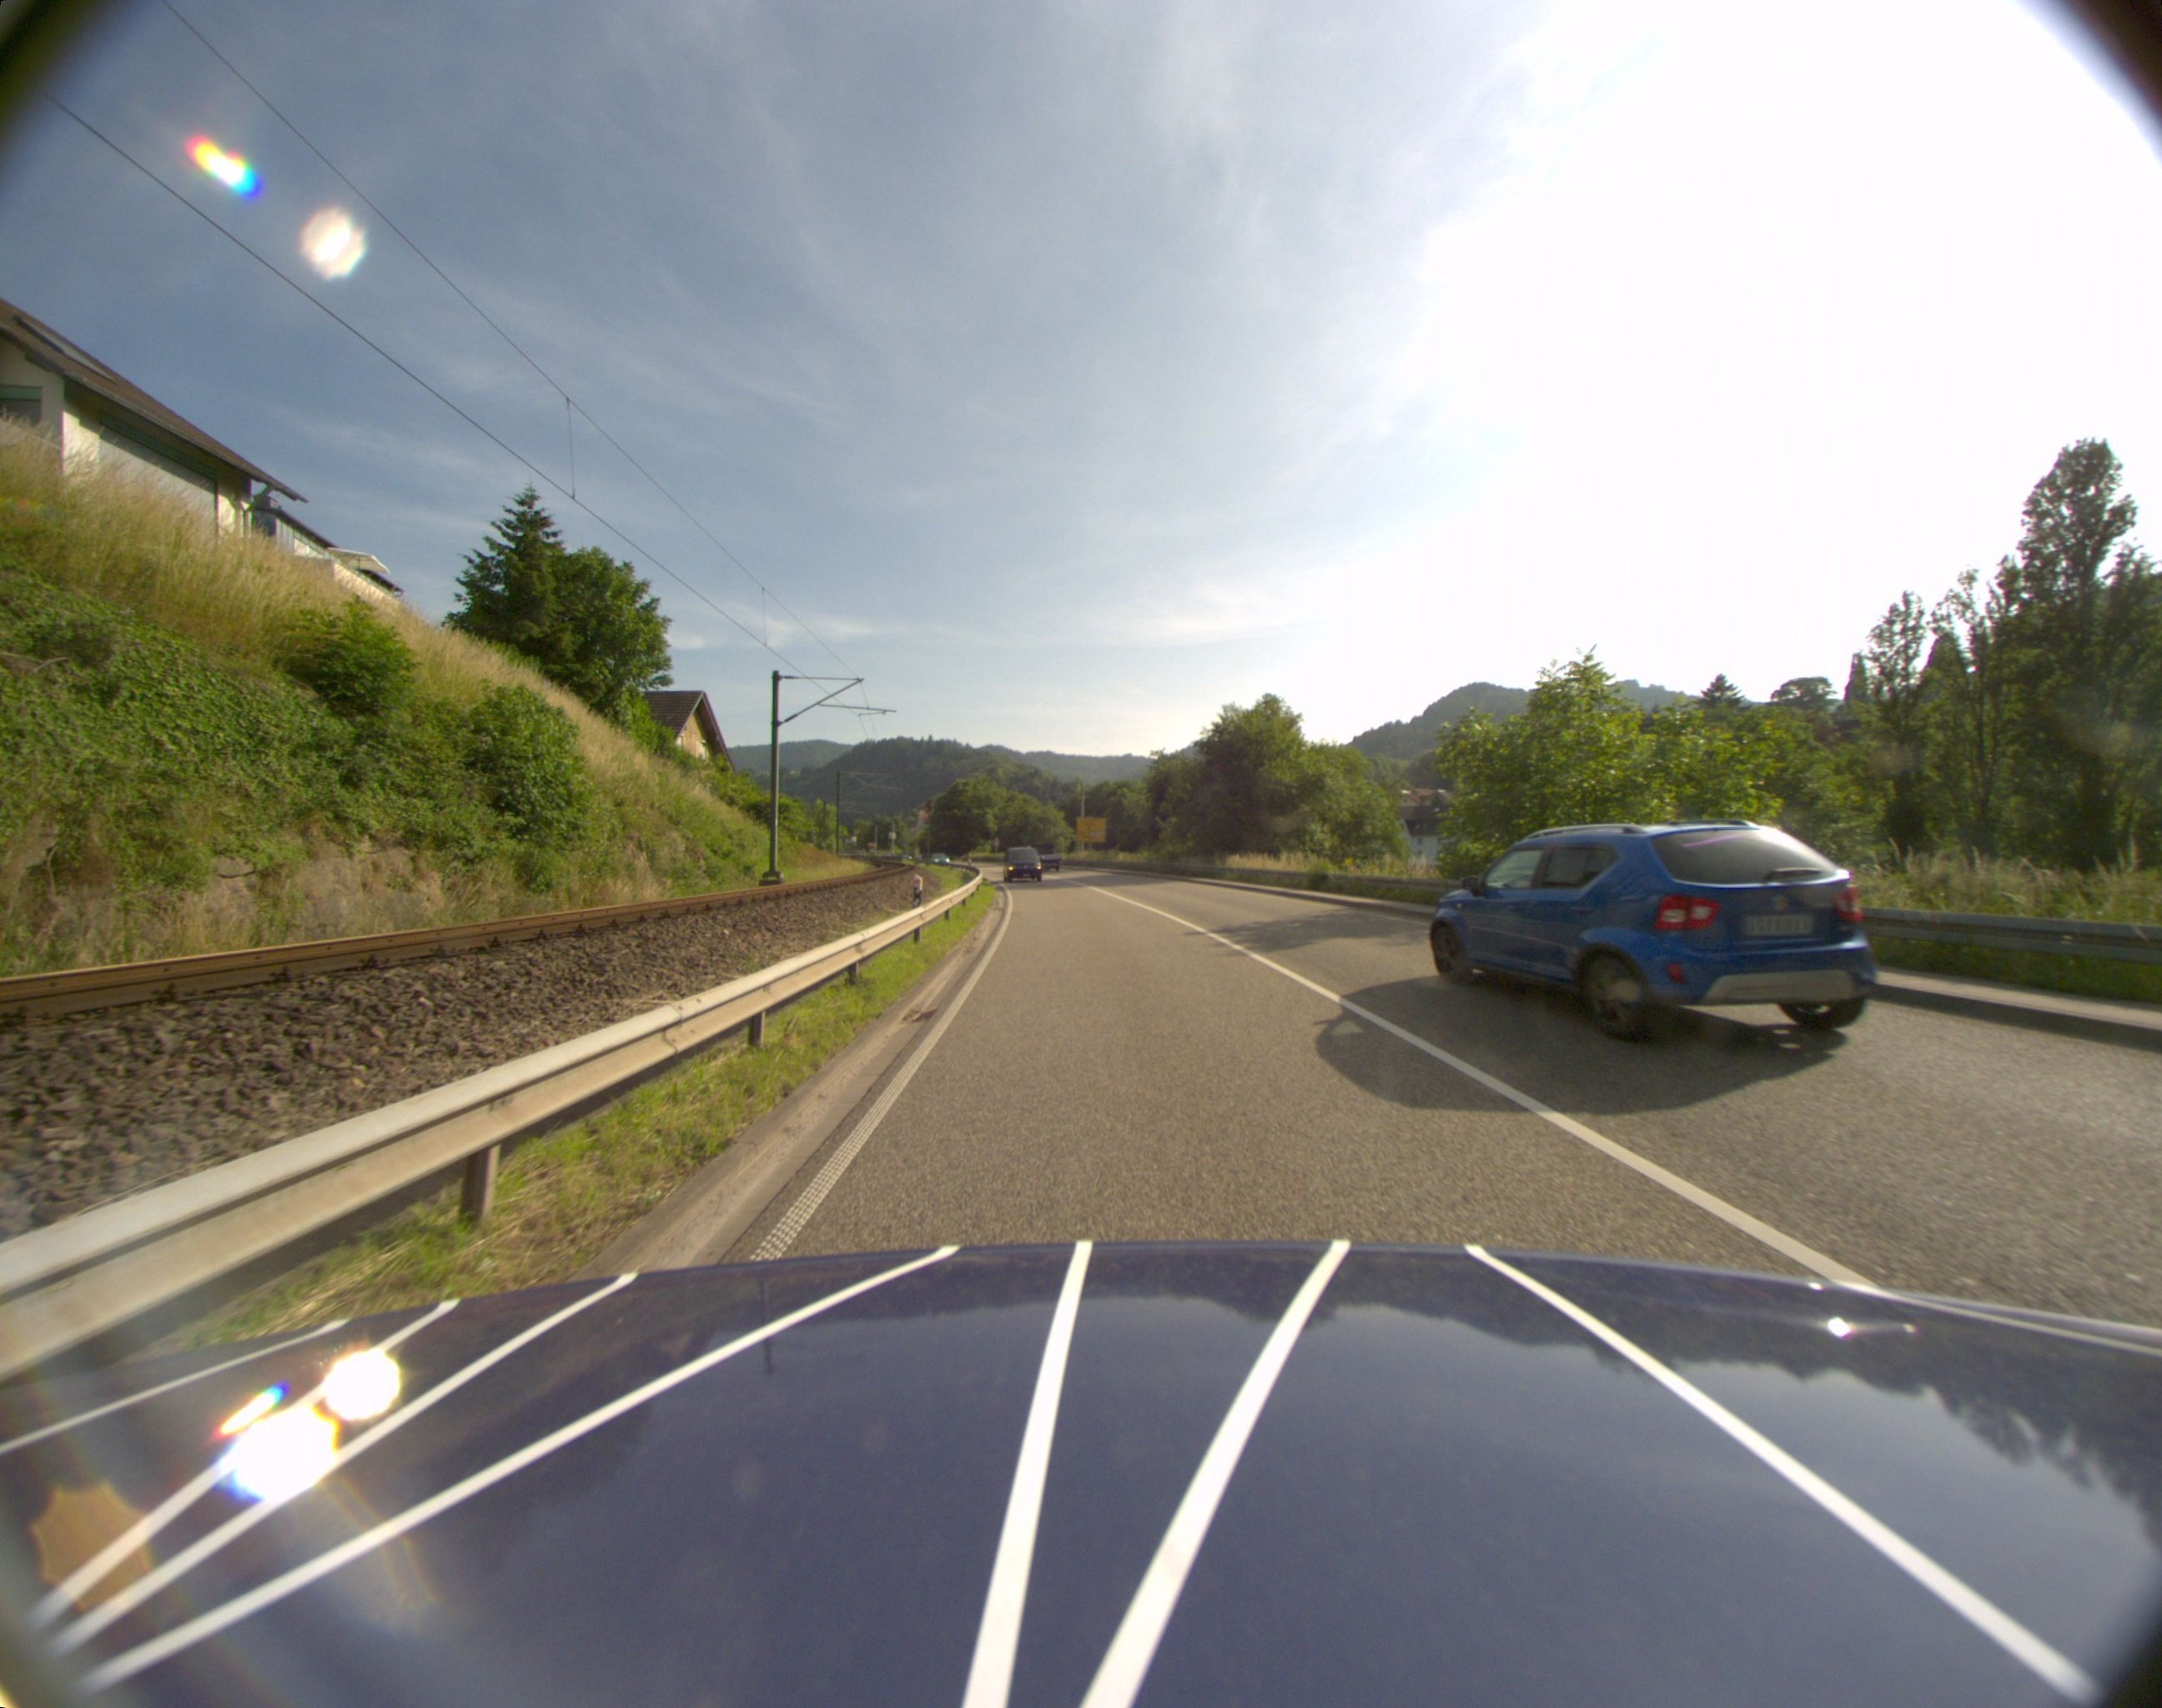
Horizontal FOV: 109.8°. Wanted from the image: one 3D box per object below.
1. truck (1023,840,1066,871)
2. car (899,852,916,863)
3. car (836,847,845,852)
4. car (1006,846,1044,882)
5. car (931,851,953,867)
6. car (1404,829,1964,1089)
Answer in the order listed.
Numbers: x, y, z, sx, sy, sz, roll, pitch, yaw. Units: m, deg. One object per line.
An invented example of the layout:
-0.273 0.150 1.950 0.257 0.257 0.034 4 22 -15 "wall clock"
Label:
-3.105 0.100 63.043 2.165 2.352 6.737 -3 1 -14 "truck"
-27.608 0.520 120.881 1.889 1.735 4.170 -2 1 -25 "car"
-65.004 -1.207 205.115 1.640 1.341 4.099 -2 2 -27 "car"
-3.276 0.512 43.849 2.019 1.905 4.309 -2 1 -6 "car"
-17.145 0.605 93.864 1.888 1.735 4.170 -1 2 -21 "car"
4.645 0.646 6.774 1.756 1.558 3.999 -3 1 -1 "car"
